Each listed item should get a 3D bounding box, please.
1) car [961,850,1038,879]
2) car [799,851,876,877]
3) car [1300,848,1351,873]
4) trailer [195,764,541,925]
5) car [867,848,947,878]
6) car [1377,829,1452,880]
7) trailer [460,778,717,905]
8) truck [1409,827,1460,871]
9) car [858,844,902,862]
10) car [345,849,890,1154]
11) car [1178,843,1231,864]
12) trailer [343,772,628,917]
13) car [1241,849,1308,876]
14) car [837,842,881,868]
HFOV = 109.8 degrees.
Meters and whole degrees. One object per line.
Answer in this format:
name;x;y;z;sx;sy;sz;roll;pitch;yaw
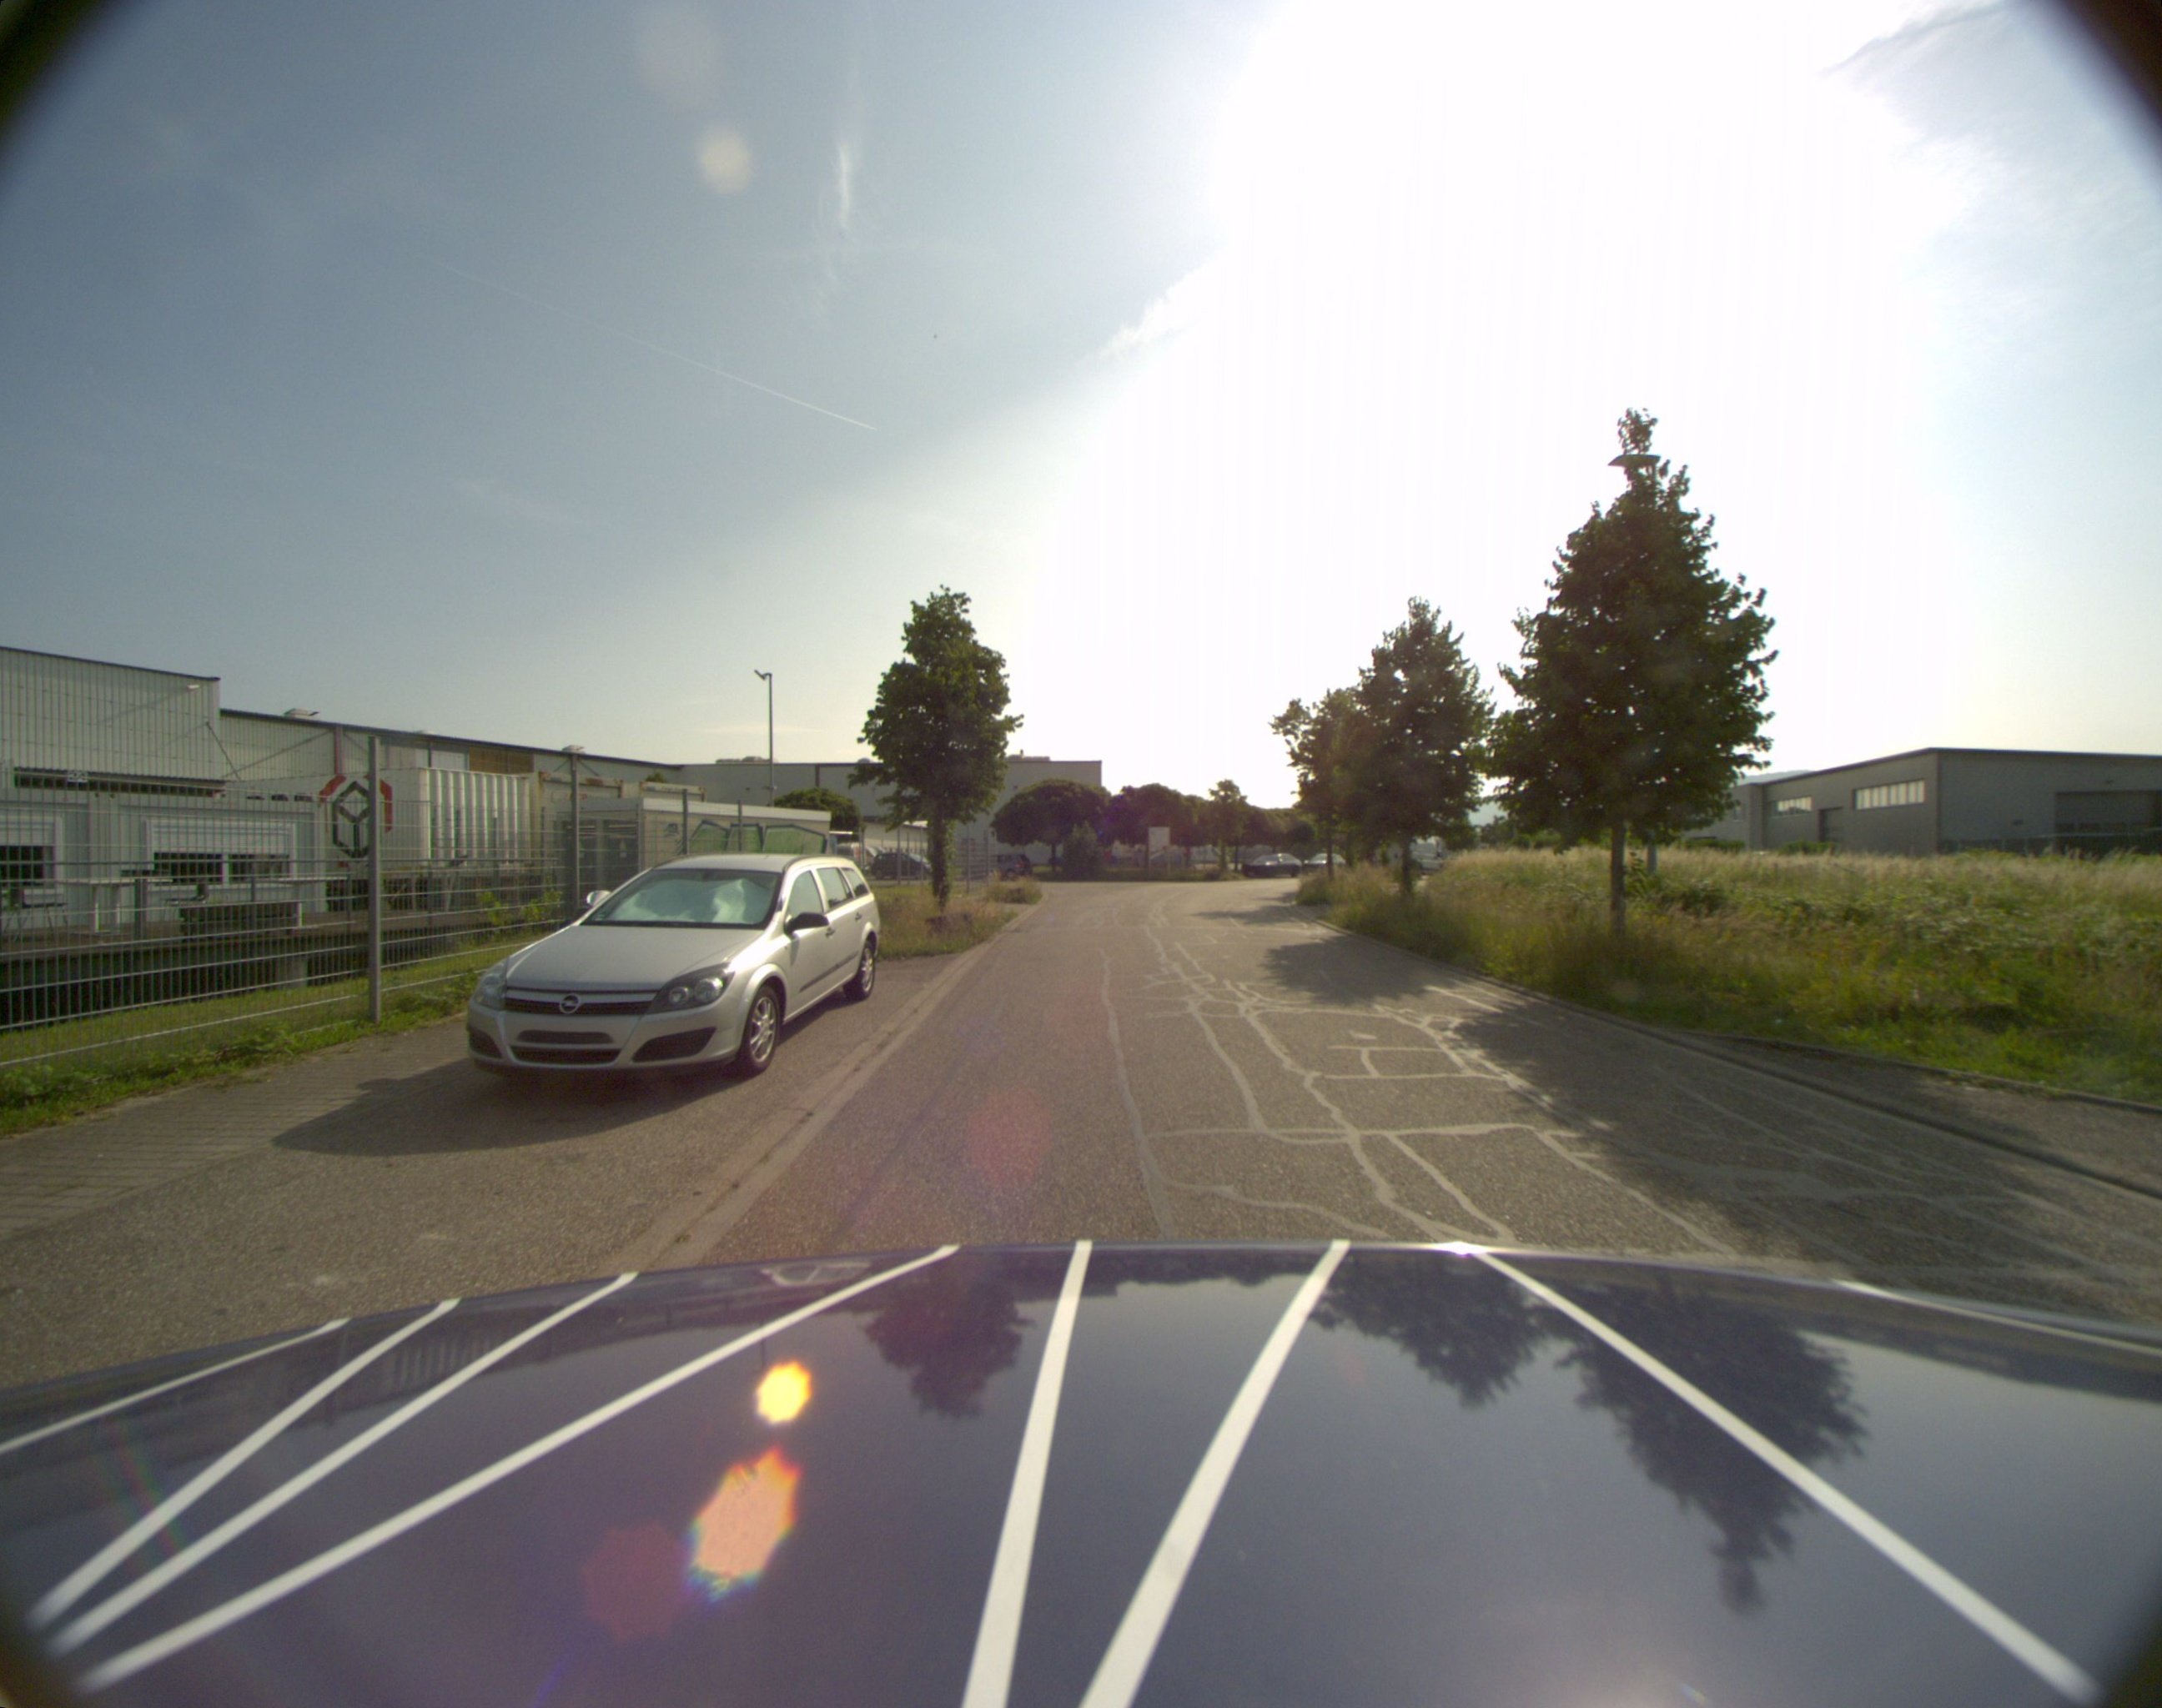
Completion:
car;-4.603;0.594;43.095;3.954;1.515;1.729;-1;3;14
car;-15.184;0.633;47.437;4.481;1.509;1.730;0;3;23
car;17.384;0.427;53.927;1.881;1.565;4.122;4;3;42
trailer;-19.036;-0.152;20.279;8.742;3.739;2.794;-1;1;18
car;-10.306;0.563;45.081;4.259;1.616;1.881;-2;-1;21
car;18.470;0.021;41.866;2.103;2.580;6.518;0;0;40
trailer;-16.951;-0.387;26.091;8.544;3.872;2.779;-1;3;21
truck;33.772;-0.455;72.549;2.692;3.942;6.061;3;2;41
car;-24.320;-0.123;92.033;4.843;2.072;1.932;1;1;4
car;-3.068;0.801;6.339;1.803;1.616;4.449;1;0;0
car;15.189;-0.044;93.605;6.268;2.633;2.213;0;0;1
trailer;-18.156;-0.282;23.126;8.544;3.871;2.780;0;1;21
car;12.536;0.509;49.005;1.881;1.565;5.129;2;2;43
car;-22.224;0.036;76.303;2.172;2.503;6.701;0;1;2
